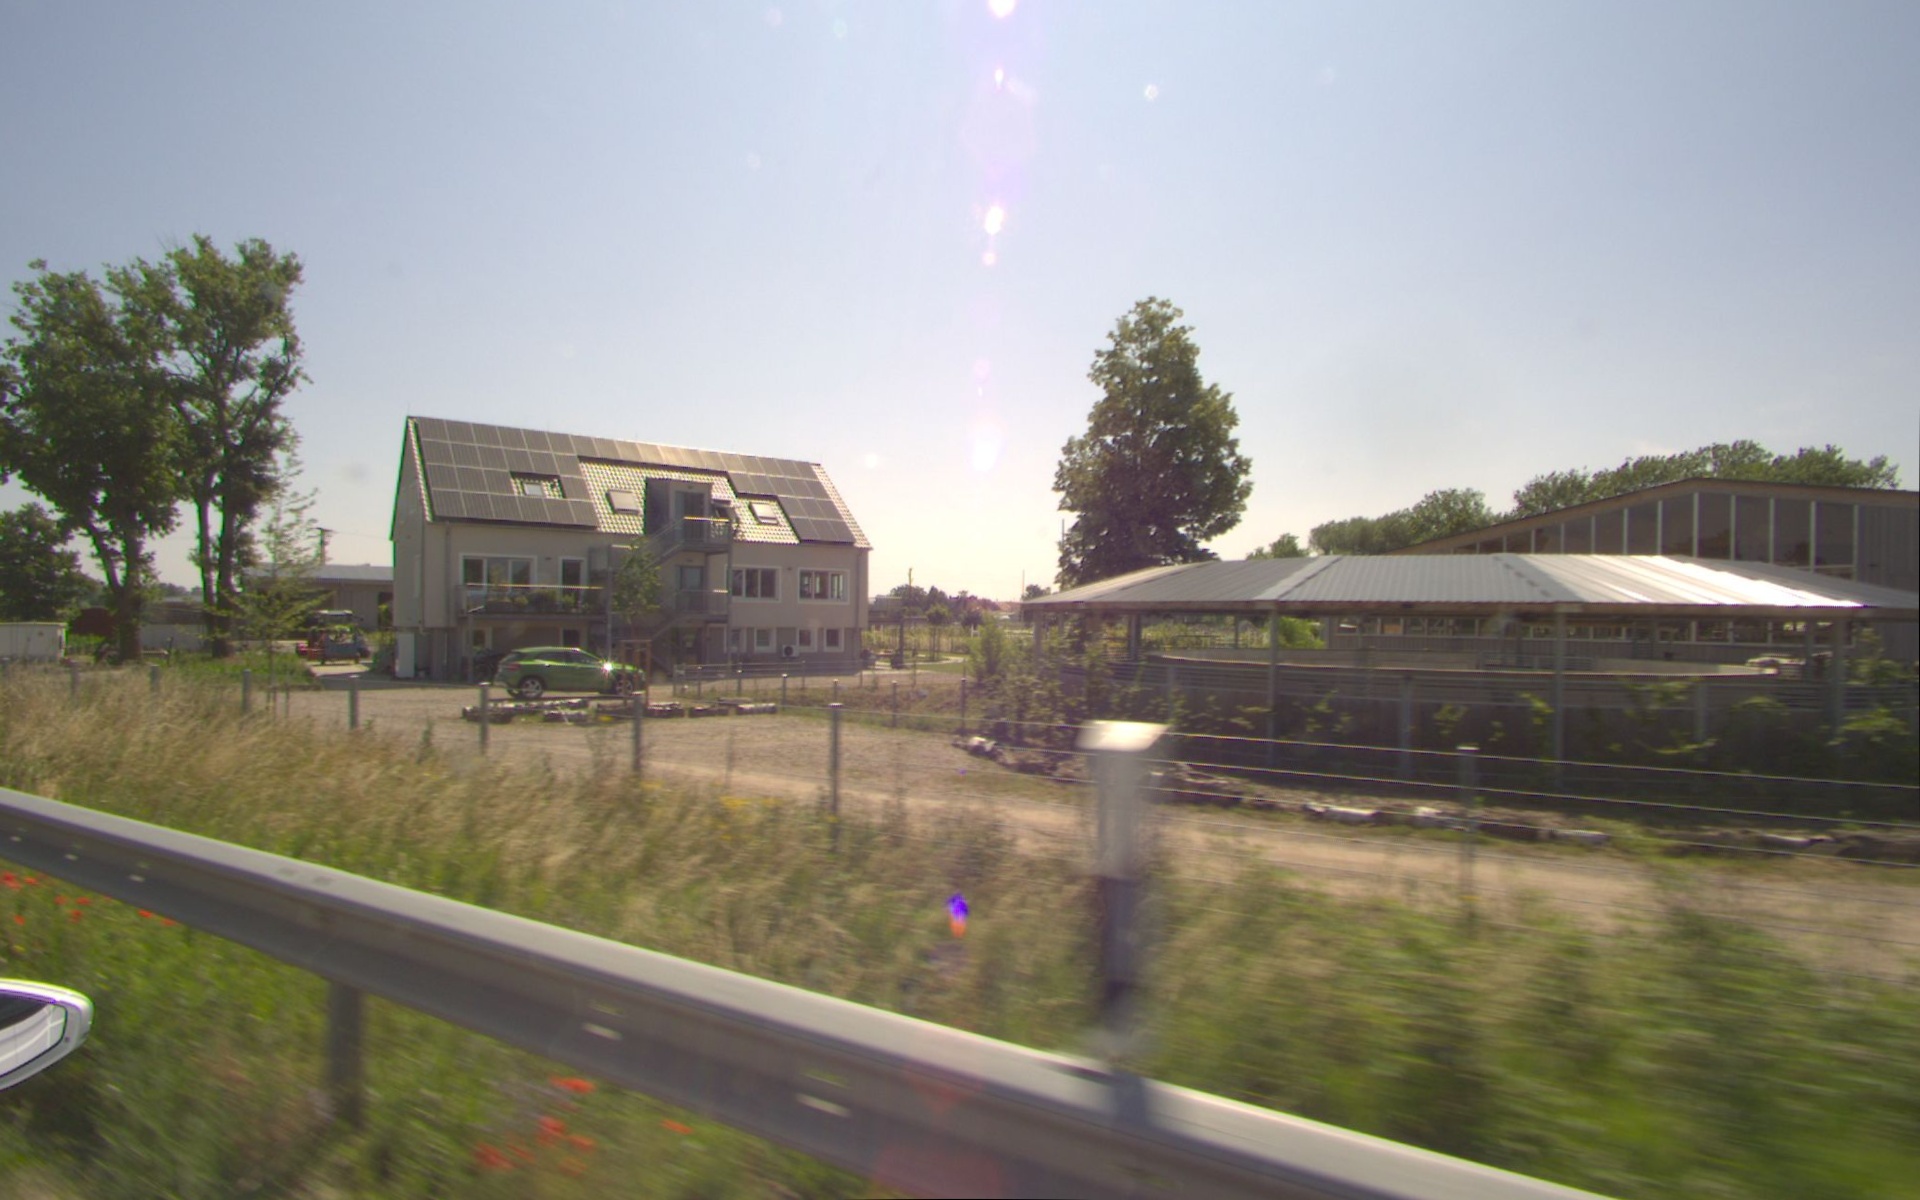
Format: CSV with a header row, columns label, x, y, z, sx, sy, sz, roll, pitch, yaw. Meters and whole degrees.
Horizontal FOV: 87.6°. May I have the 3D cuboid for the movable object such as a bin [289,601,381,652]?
label,x,y,z,sx,sy,sz,roll,pitch,yaw
movable object such as a bin,-37.376,1.544,59.814,6.431,2.805,2.989,0,-2,42

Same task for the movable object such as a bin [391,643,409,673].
label,x,y,z,sx,sy,sz,roll,pitch,yaw
movable object such as a bin,-22.224,2.305,39.704,0.571,1.165,0.657,1,0,-33

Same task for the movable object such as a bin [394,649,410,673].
label,x,y,z,sx,sy,sz,roll,pitch,yaw
movable object such as a bin,-21.848,2.395,39.218,0.497,0.922,0.556,1,0,-33

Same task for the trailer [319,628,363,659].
label,x,y,z,sx,sy,sz,roll,pitch,yaw
trailer,-30.926,2.181,50.067,1.691,1.515,3.127,1,-3,-29

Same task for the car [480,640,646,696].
label,x,y,z,sx,sy,sz,roll,pitch,yaw
car,-11.967,2.062,30.300,4.320,1.600,1.921,3,-4,-35

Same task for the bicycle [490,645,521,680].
label,x,y,z,sx,sy,sz,roll,pitch,yaw
bicycle,-16.987,2.332,37.408,0.706,1.207,1.957,2,-2,-34

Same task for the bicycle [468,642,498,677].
label,x,y,z,sx,sy,sz,roll,pitch,yaw
bicycle,-17.653,2.196,37.029,0.705,1.207,1.958,2,-1,-33
